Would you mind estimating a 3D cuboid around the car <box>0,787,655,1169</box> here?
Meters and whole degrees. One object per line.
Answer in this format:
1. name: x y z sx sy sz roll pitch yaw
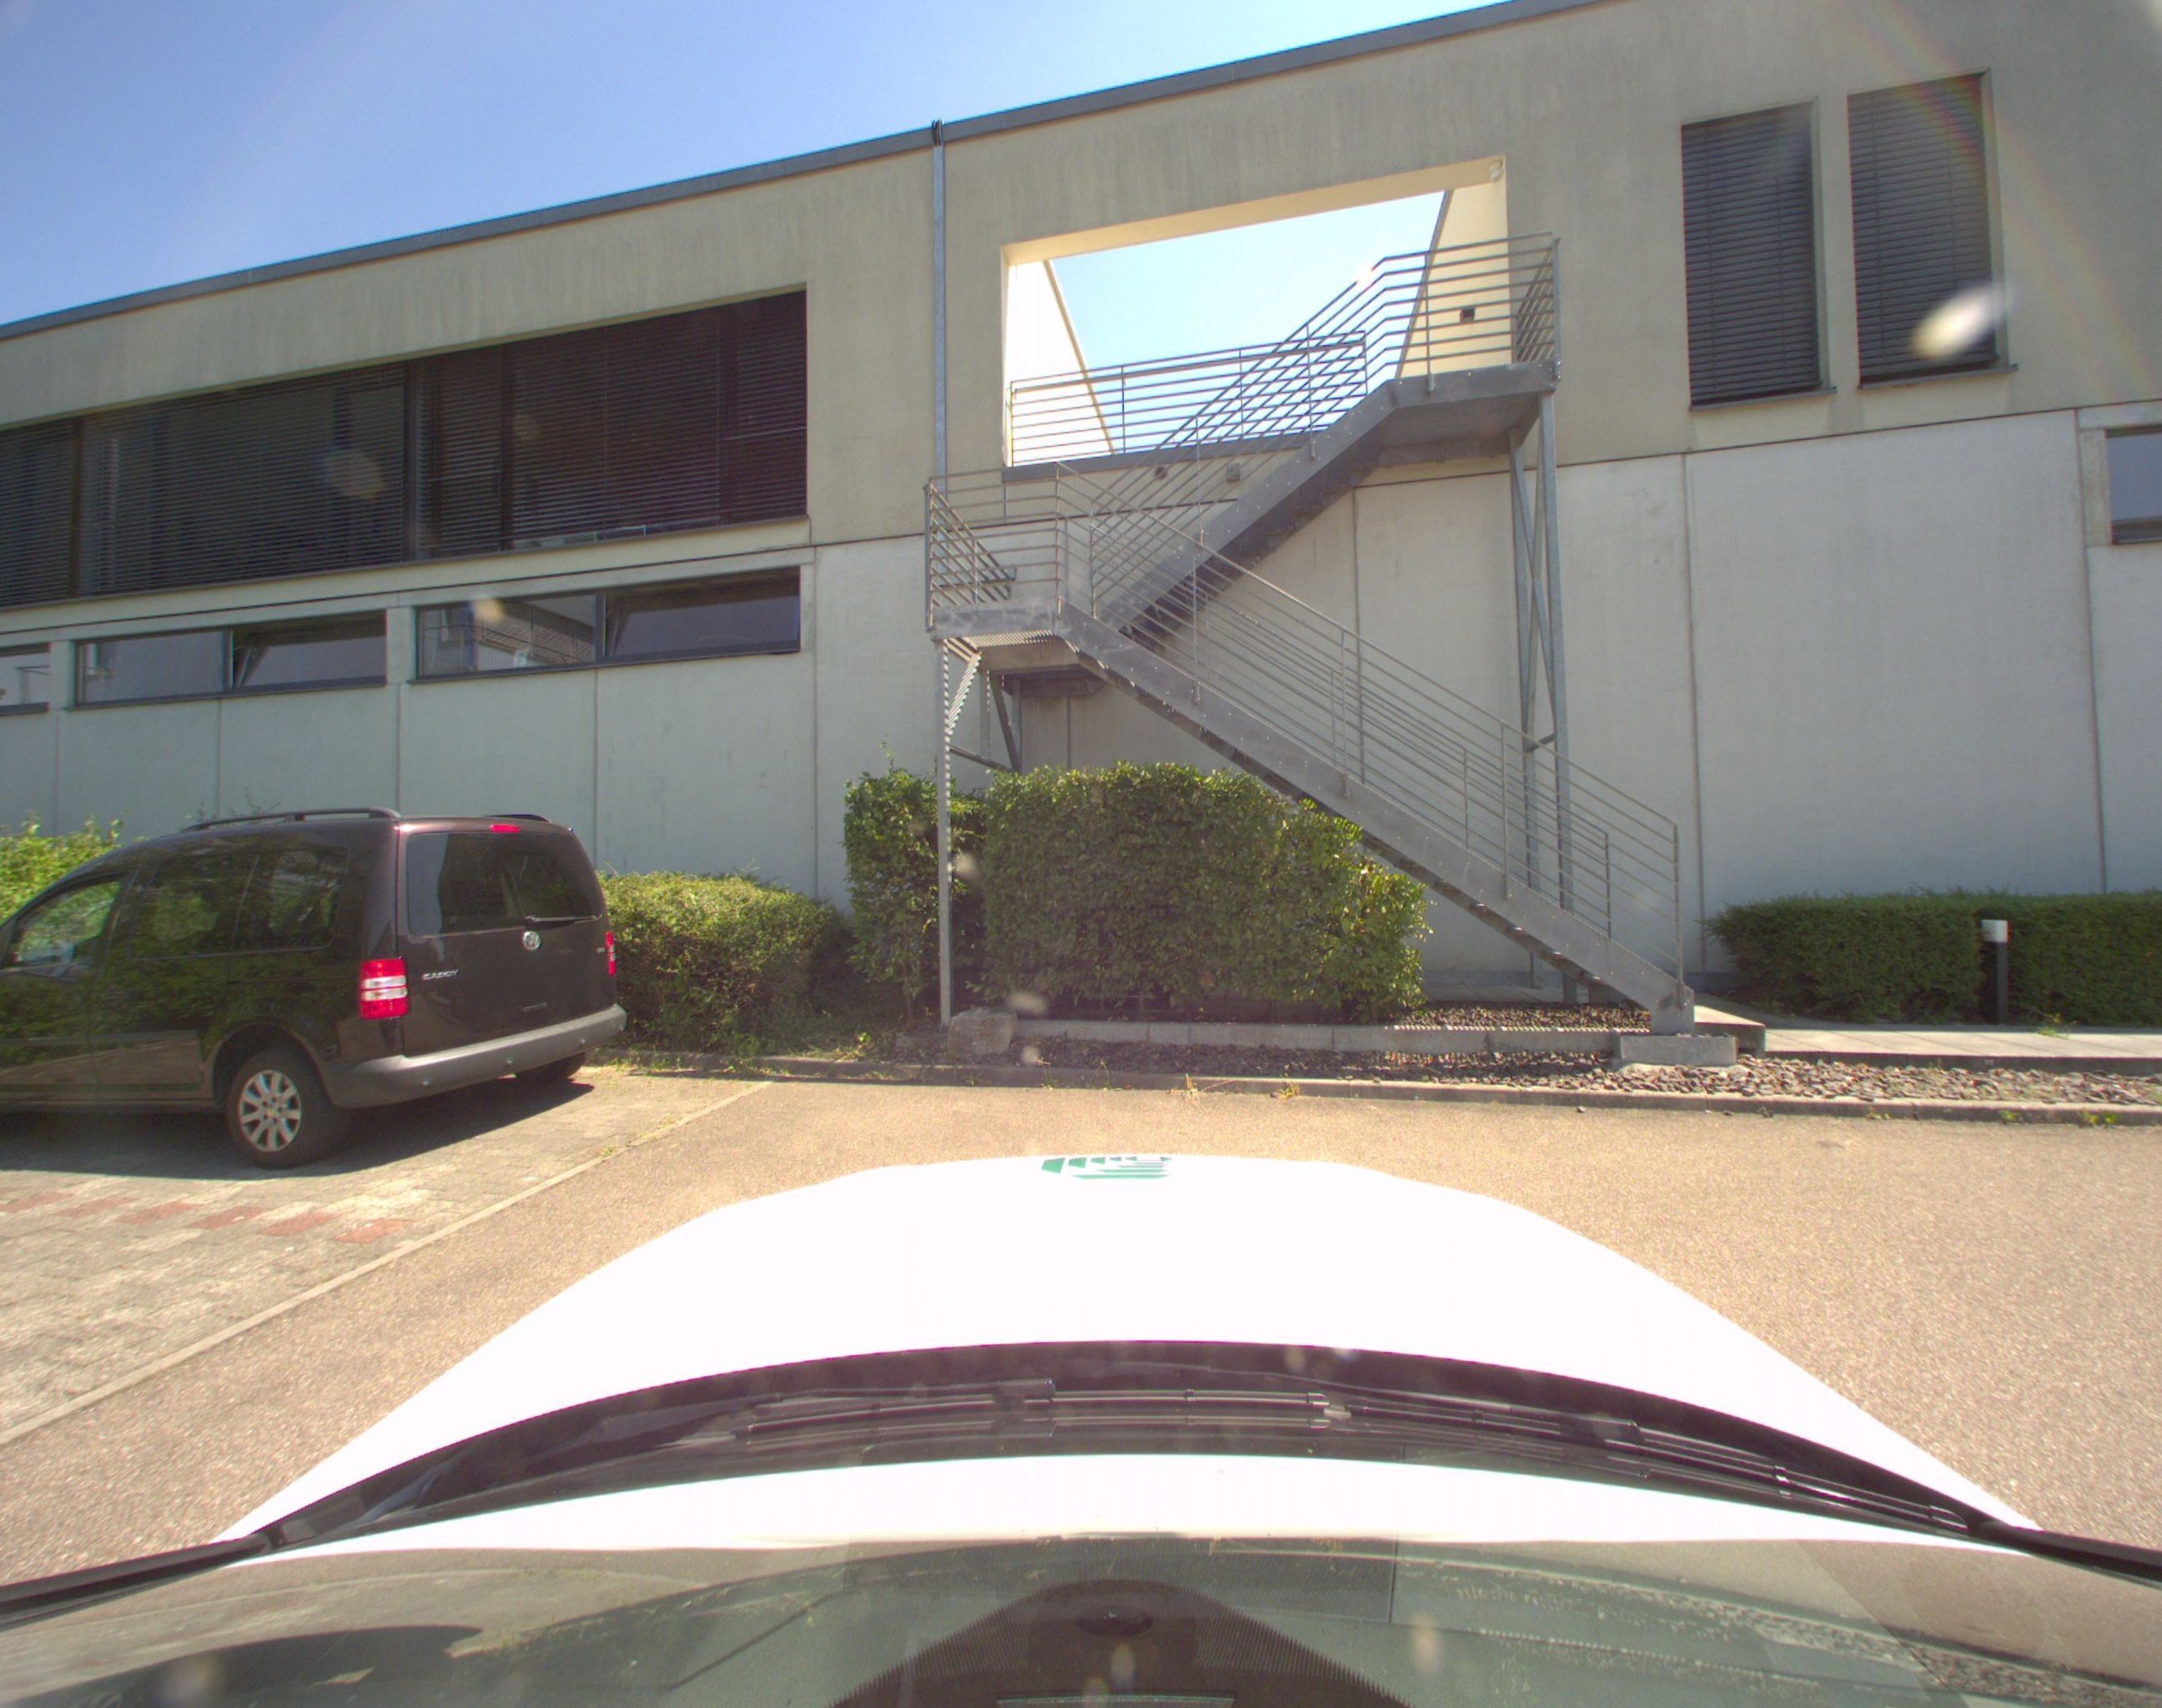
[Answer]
1. car: -5.133 0.650 5.271 4.030 1.884 1.684 -1 -1 12
